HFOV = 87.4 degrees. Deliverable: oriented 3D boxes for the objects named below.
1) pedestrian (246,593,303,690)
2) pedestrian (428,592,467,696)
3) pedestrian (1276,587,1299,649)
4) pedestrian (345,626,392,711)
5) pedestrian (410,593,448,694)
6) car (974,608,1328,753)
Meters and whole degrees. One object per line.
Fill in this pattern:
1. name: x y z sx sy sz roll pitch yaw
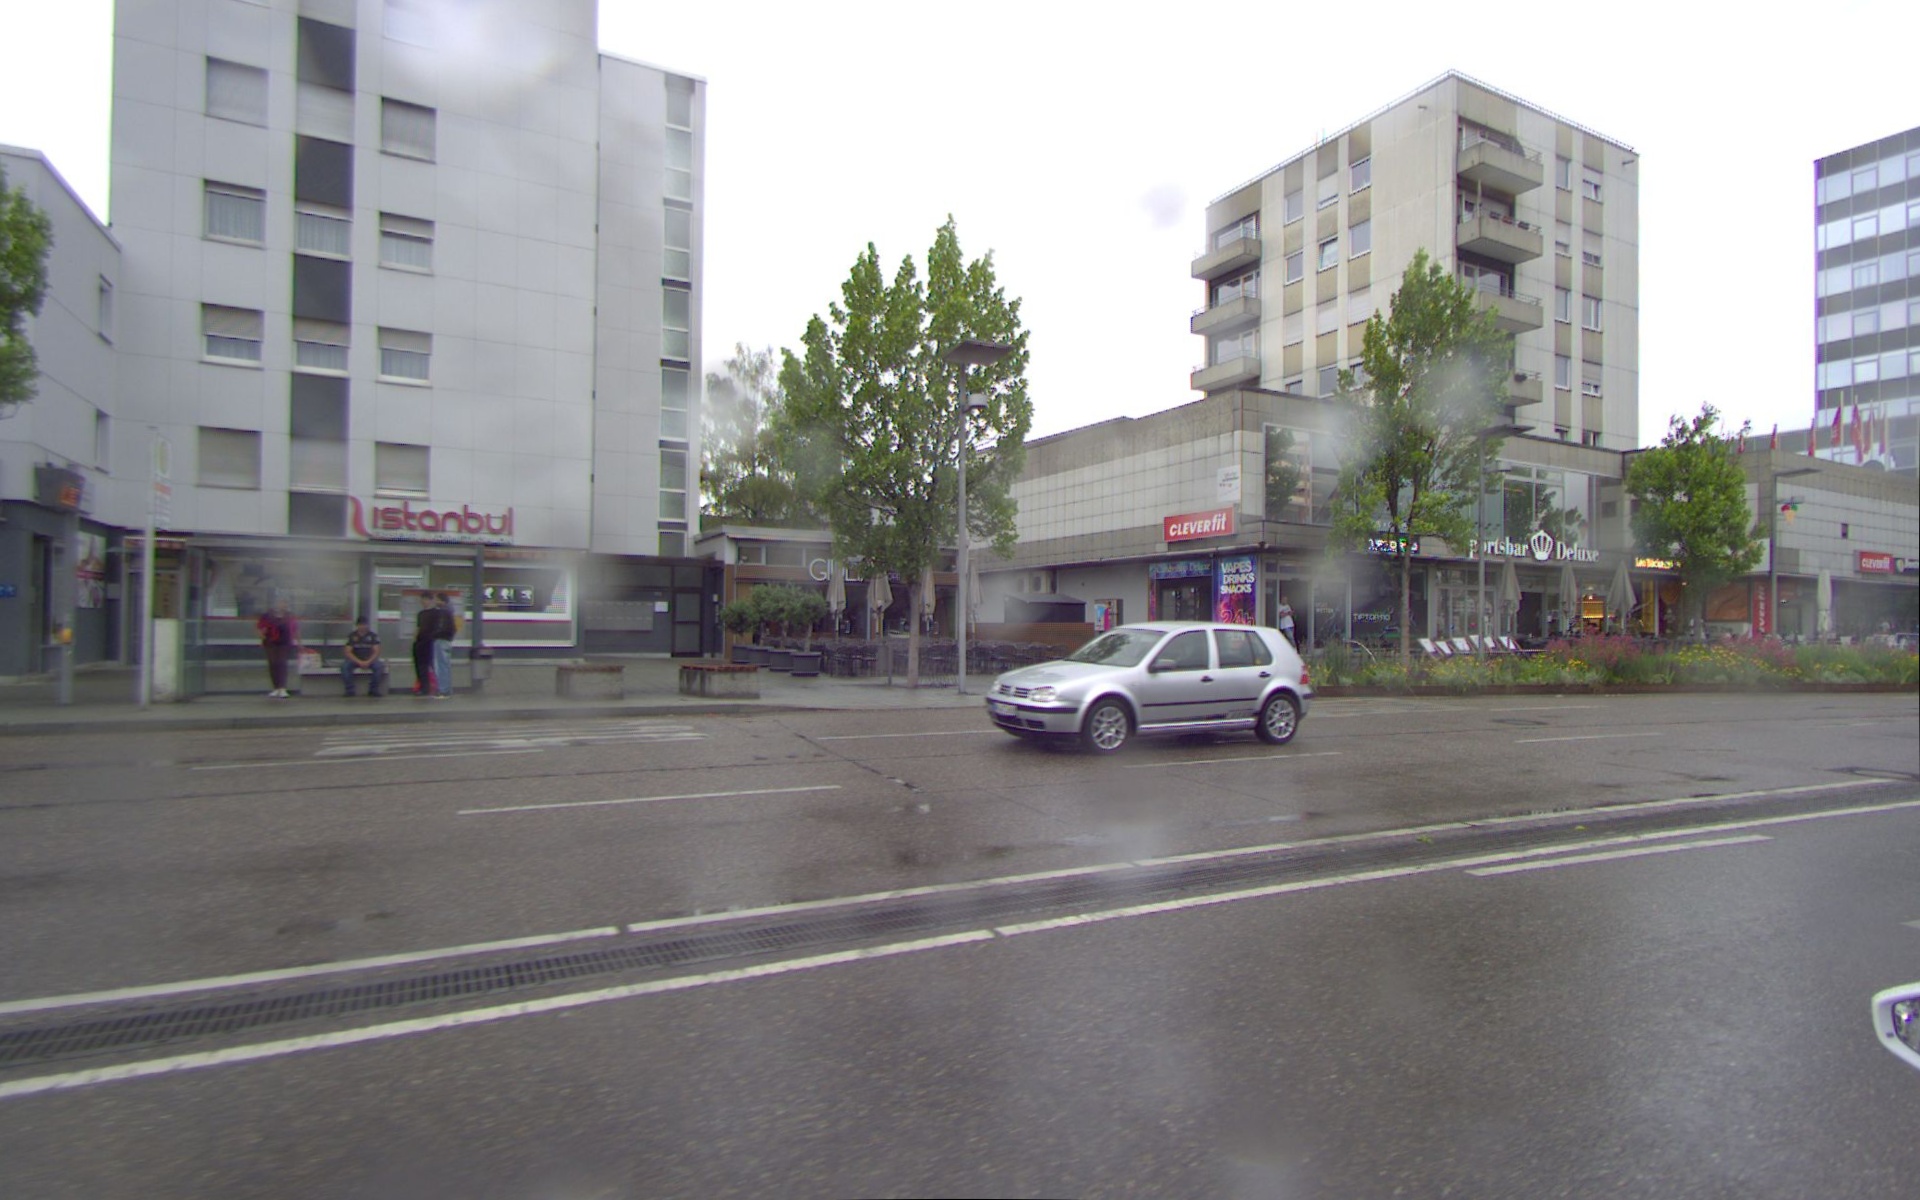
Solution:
1. pedestrian: -11.050 0.653 16.192 0.528 1.525 0.613 0 -1 39
2. pedestrian: -8.478 0.724 16.626 0.530 1.681 0.476 1 -1 -27
3. pedestrian: 9.939 0.546 30.448 0.493 1.872 0.425 1 -1 -18
4. pedestrian: -9.824 1.131 16.686 0.570 1.370 0.534 1 -1 -22
5. pedestrian: -9.044 0.739 17.122 0.472 1.681 0.534 1 -1 -22
6. car: 2.339 0.895 12.049 4.054 1.485 1.692 2 -2 -29
